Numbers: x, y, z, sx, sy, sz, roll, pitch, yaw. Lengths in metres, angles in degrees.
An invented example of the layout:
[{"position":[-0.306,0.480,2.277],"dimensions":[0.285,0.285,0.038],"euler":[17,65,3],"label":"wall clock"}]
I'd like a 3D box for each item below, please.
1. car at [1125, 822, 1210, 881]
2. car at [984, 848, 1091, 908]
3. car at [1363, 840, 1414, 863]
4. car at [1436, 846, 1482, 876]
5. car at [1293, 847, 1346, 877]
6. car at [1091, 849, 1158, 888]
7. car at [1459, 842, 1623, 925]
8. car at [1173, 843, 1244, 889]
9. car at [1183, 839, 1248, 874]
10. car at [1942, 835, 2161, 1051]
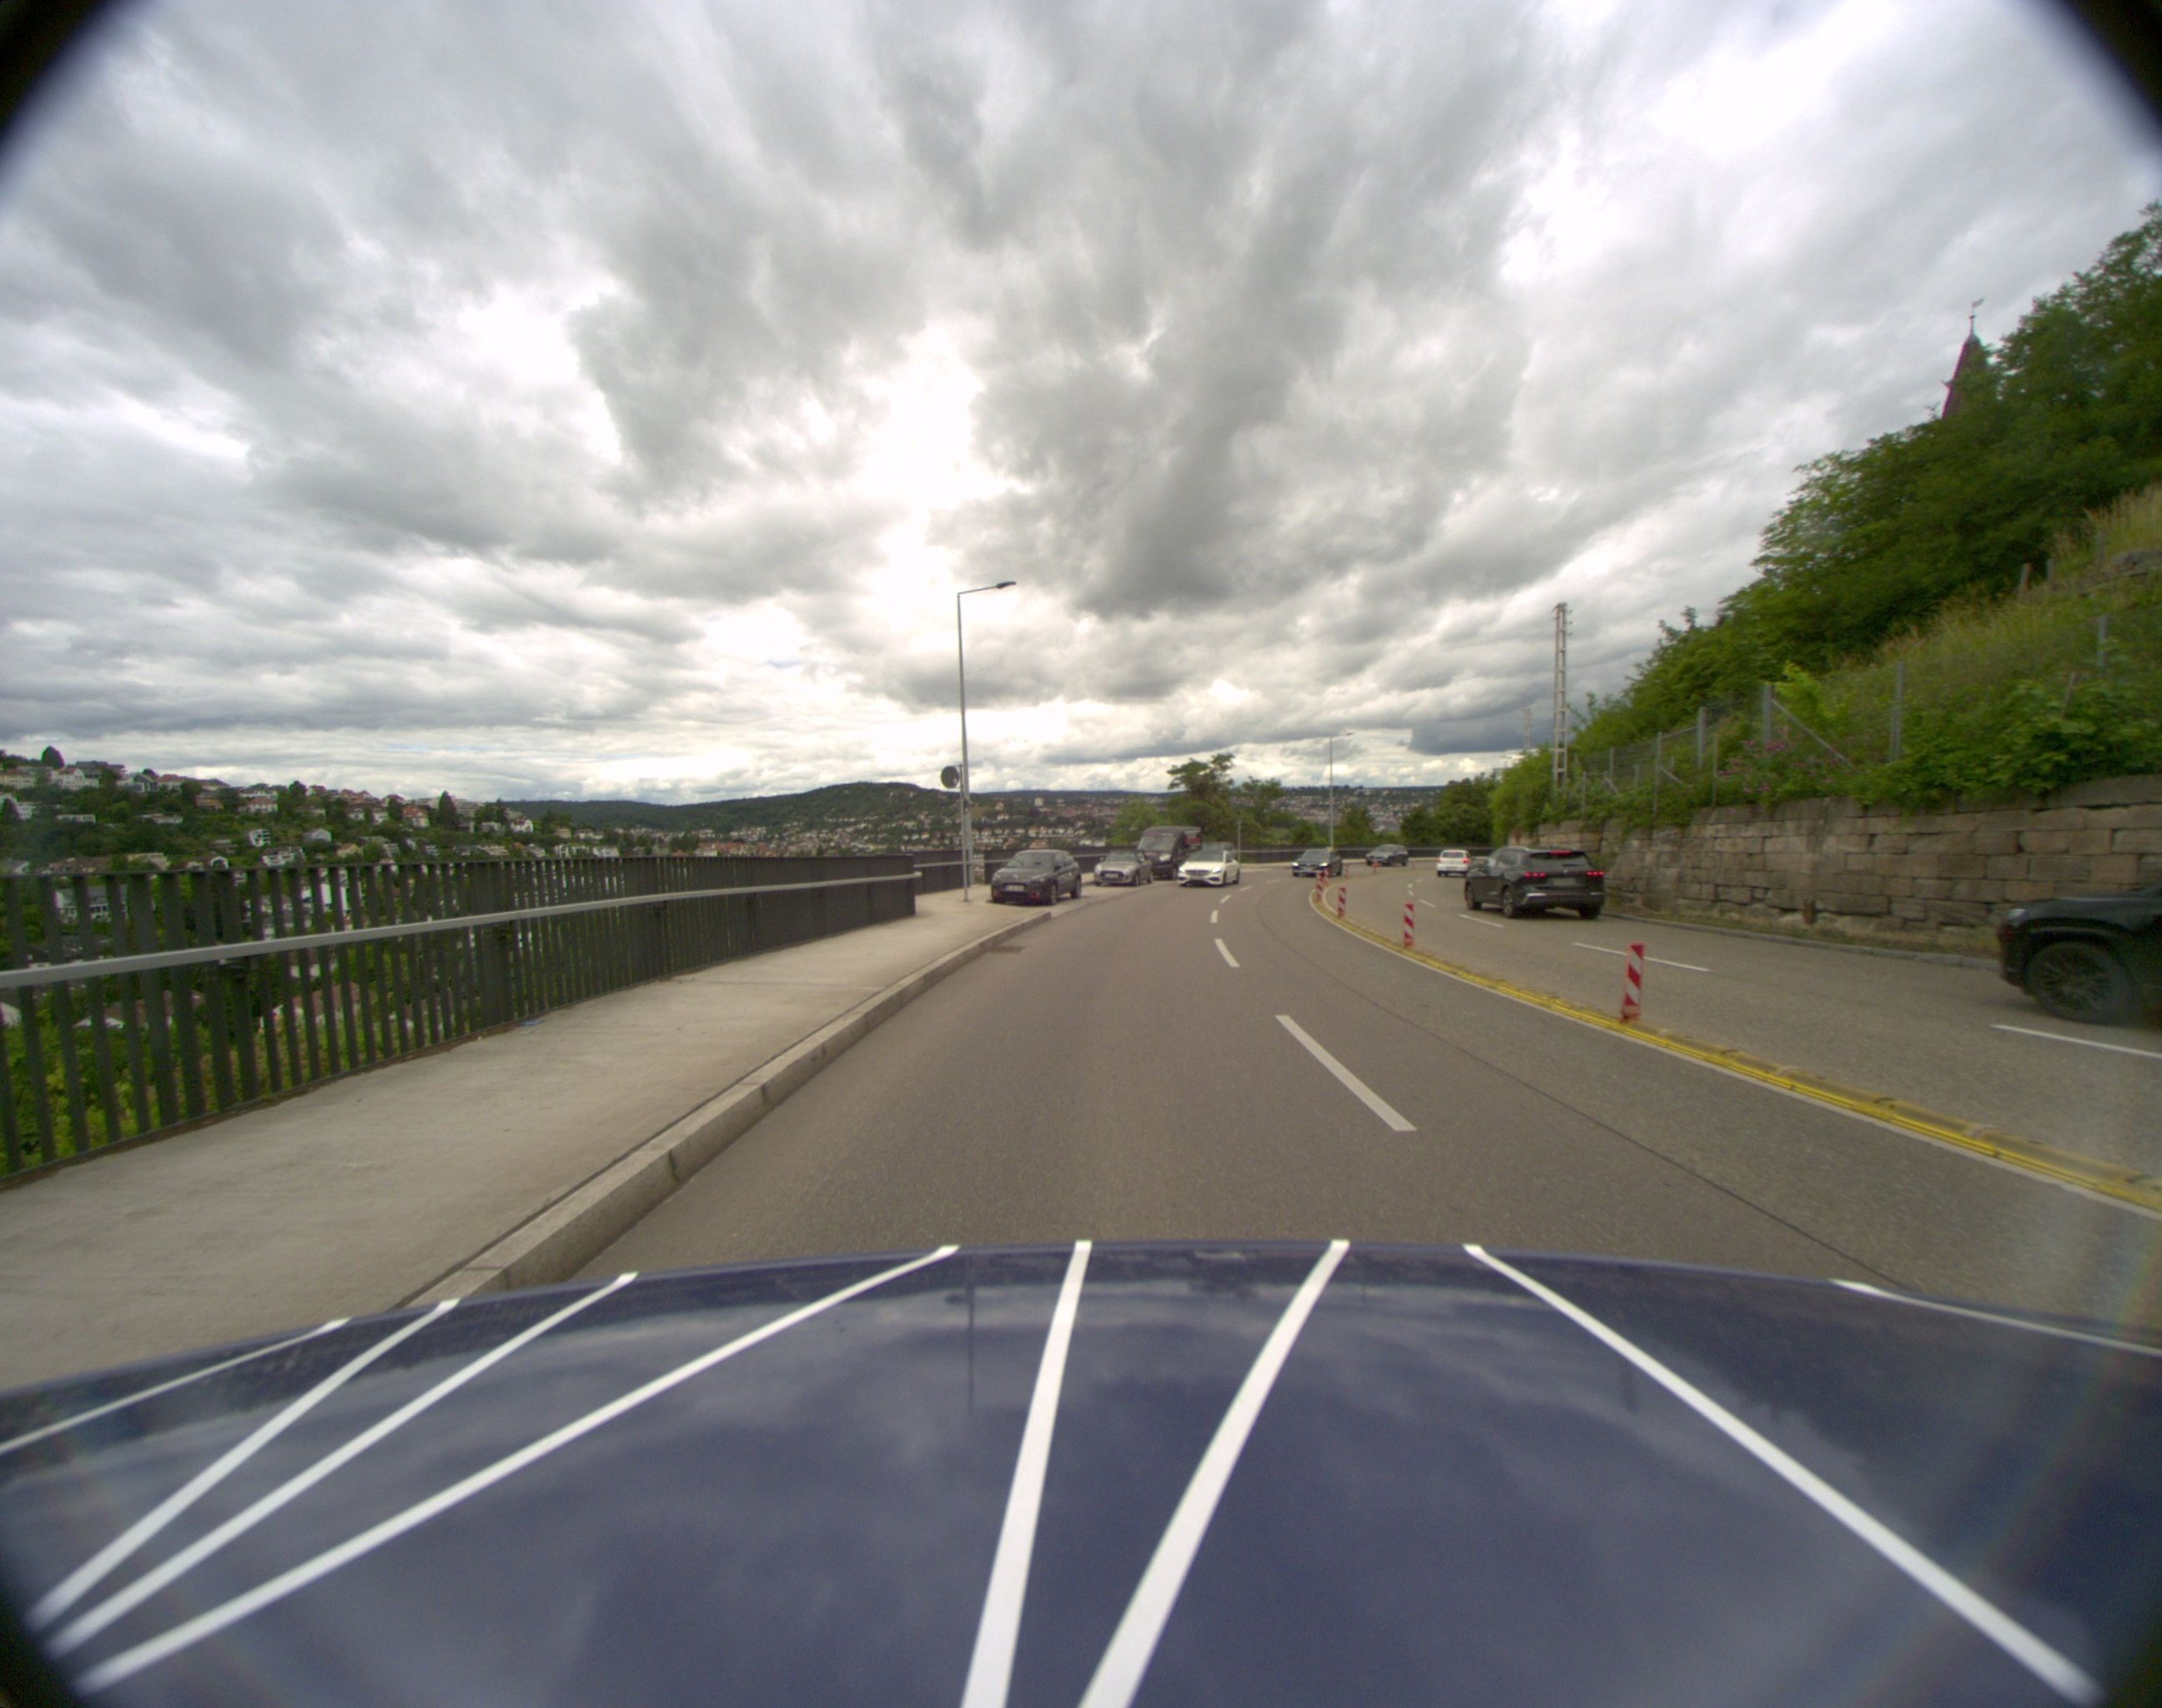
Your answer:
[{"position":[4.266,-0.167,36.407],"dimensions":[2.167,2.508,5.780],"euler":[4,3,26],"label":"car"},{"position":[-1.150,0.632,22.276],"dimensions":[1.877,1.534,4.094],"euler":[0,1,16],"label":"car"},{"position":[23.696,-0.205,58.473],"dimensions":[4.547,1.661,1.994],"euler":[-1,1,-45],"label":"car"},{"position":[21.921,0.371,43.976],"dimensions":[1.701,1.540,4.008],"euler":[3,3,36],"label":"car"},{"position":[12.717,0.379,40.412],"dimensions":[1.897,1.485,4.149],"euler":[1,2,28],"label":"car"},{"position":[1.834,0.539,30.835],"dimensions":[1.716,1.423,3.855],"euler":[1,2,18],"label":"car"},{"position":[10.705,0.630,18.107],"dimensions":[1.846,1.715,4.467],"euler":[0,0,10],"label":"car"},{"position":[5.260,0.417,30.970],"dimensions":[1.995,1.708,4.006],"euler":[1,1,22],"label":"car"},{"position":[7.584,0.092,42.495],"dimensions":[1.994,1.709,5.057],"euler":[3,3,28],"label":"car"},{"position":[9.057,0.658,5.020],"dimensions":[1.869,1.614,4.348],"euler":[-1,0,2],"label":"car"}]
